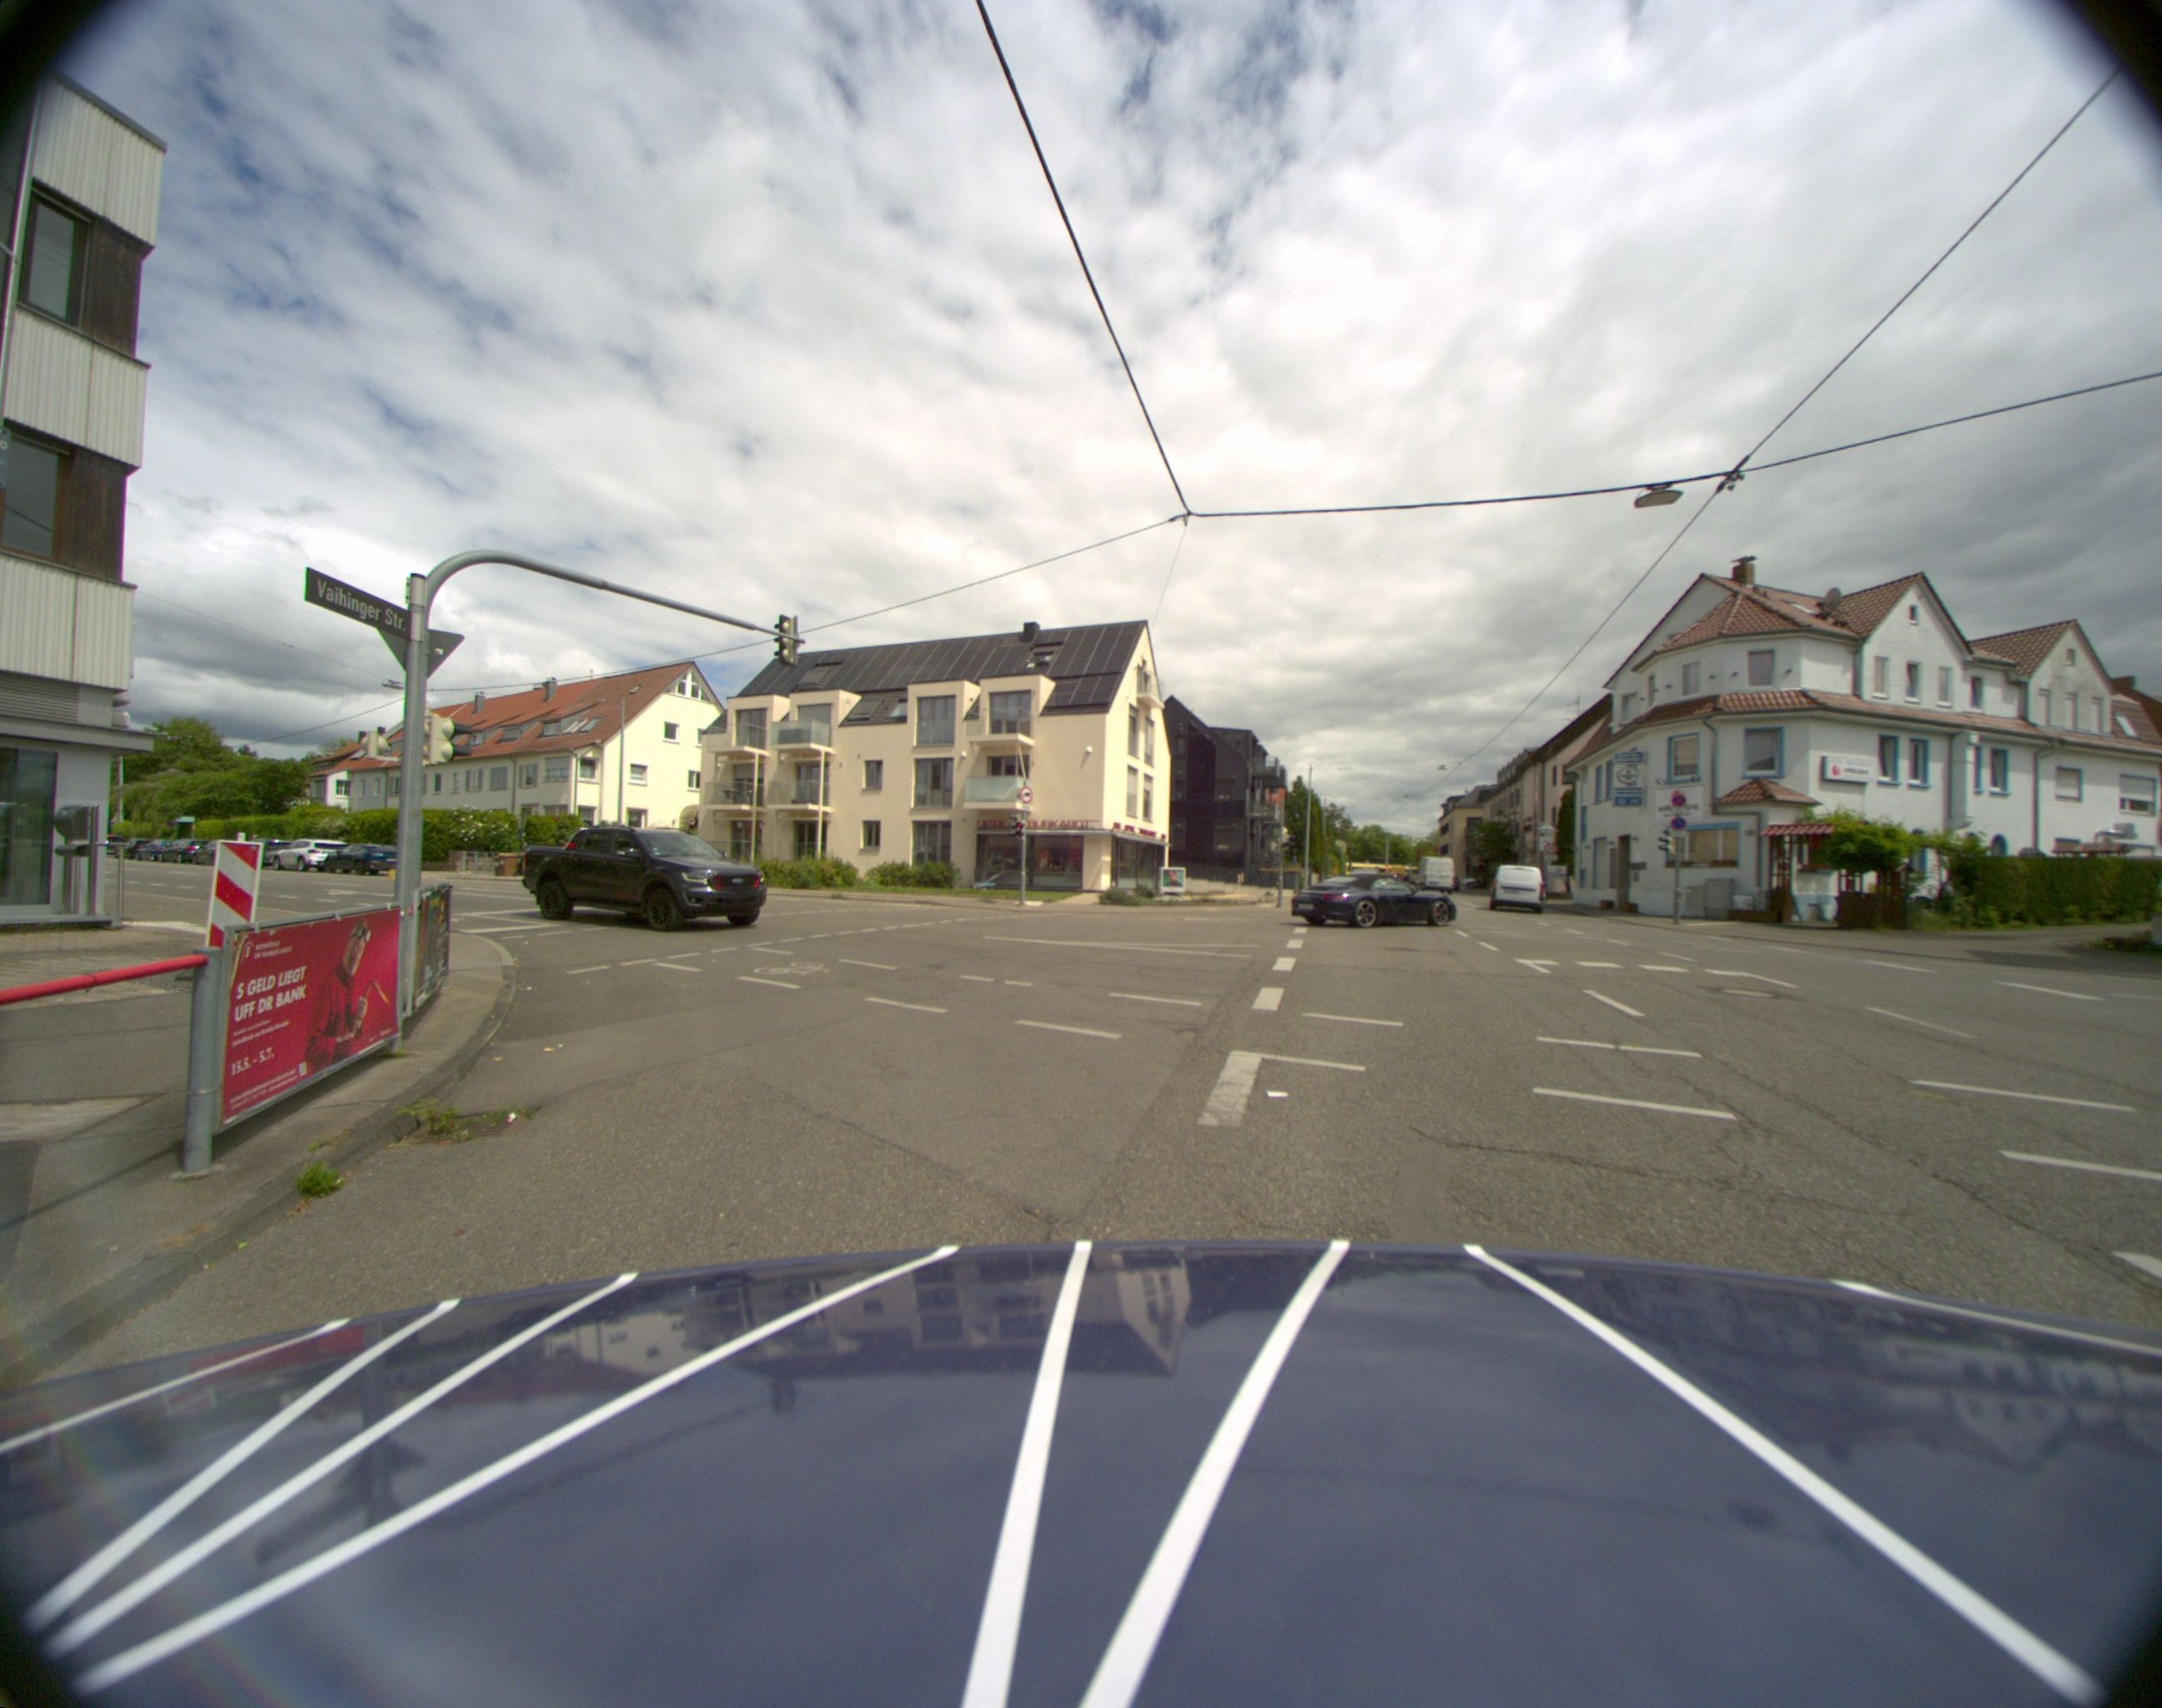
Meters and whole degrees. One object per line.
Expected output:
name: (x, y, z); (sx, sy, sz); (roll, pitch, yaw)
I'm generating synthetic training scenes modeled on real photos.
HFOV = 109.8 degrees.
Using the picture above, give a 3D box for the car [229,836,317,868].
car: (-43.160, -0.104, 40.582); (4.225, 1.623, 2.004); (1, 0, 26)

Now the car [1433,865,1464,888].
car: (34.130, 2.086, 70.692); (1.995, 2.002, 4.006); (2, 0, 18)

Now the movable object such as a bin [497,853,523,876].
movable object such as a bin: (-26.827, 0.480, 35.696); (0.690, 1.059, 0.766); (2, 0, 33)

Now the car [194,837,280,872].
car: (-47.959, 0.038, 43.186); (4.225, 1.621, 2.006); (1, -7, 26)

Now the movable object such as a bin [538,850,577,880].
movable object such as a bin: (-24.094, 0.497, 34.983); (0.978, 1.354, 1.095); (2, 0, 26)

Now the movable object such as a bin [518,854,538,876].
movable object such as a bin: (-26.343, 0.522, 36.200); (0.523, 1.059, 0.655); (2, 0, -13)

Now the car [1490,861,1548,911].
car: (17.555, 1.270, 30.607); (1.817, 1.800, 4.428); (2, -1, 28)

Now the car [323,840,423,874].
car: (-33.687, 0.136, 36.124); (4.442, 1.492, 1.823); (1, 0, 23)

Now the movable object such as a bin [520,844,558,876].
movable object such as a bin: (-25.536, 0.286, 35.778); (0.978, 1.438, 1.095); (2, 0, 26)

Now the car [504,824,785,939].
car: (-8.299, 0.422, 14.374); (5.207, 1.838, 1.892); (1, 0, 24)

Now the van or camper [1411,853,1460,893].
van or camper: (25.374, 1.326, 54.576); (2.109, 2.571, 5.653); (4, 0, 15)

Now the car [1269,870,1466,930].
car: (7.042, 1.103, 18.709); (4.309, 1.275, 1.996); (1, 0, -22)

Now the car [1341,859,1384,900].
car: (14.821, 1.301, 40.109); (1.995, 2.002, 4.006); (2, 0, 20)

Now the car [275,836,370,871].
car: (-38.171, -0.034, 38.219); (4.441, 1.623, 2.004); (1, 0, 26)

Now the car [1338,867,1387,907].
car: (13.055, 1.477, 35.316); (1.995, 1.674, 4.006); (2, 0, 20)
